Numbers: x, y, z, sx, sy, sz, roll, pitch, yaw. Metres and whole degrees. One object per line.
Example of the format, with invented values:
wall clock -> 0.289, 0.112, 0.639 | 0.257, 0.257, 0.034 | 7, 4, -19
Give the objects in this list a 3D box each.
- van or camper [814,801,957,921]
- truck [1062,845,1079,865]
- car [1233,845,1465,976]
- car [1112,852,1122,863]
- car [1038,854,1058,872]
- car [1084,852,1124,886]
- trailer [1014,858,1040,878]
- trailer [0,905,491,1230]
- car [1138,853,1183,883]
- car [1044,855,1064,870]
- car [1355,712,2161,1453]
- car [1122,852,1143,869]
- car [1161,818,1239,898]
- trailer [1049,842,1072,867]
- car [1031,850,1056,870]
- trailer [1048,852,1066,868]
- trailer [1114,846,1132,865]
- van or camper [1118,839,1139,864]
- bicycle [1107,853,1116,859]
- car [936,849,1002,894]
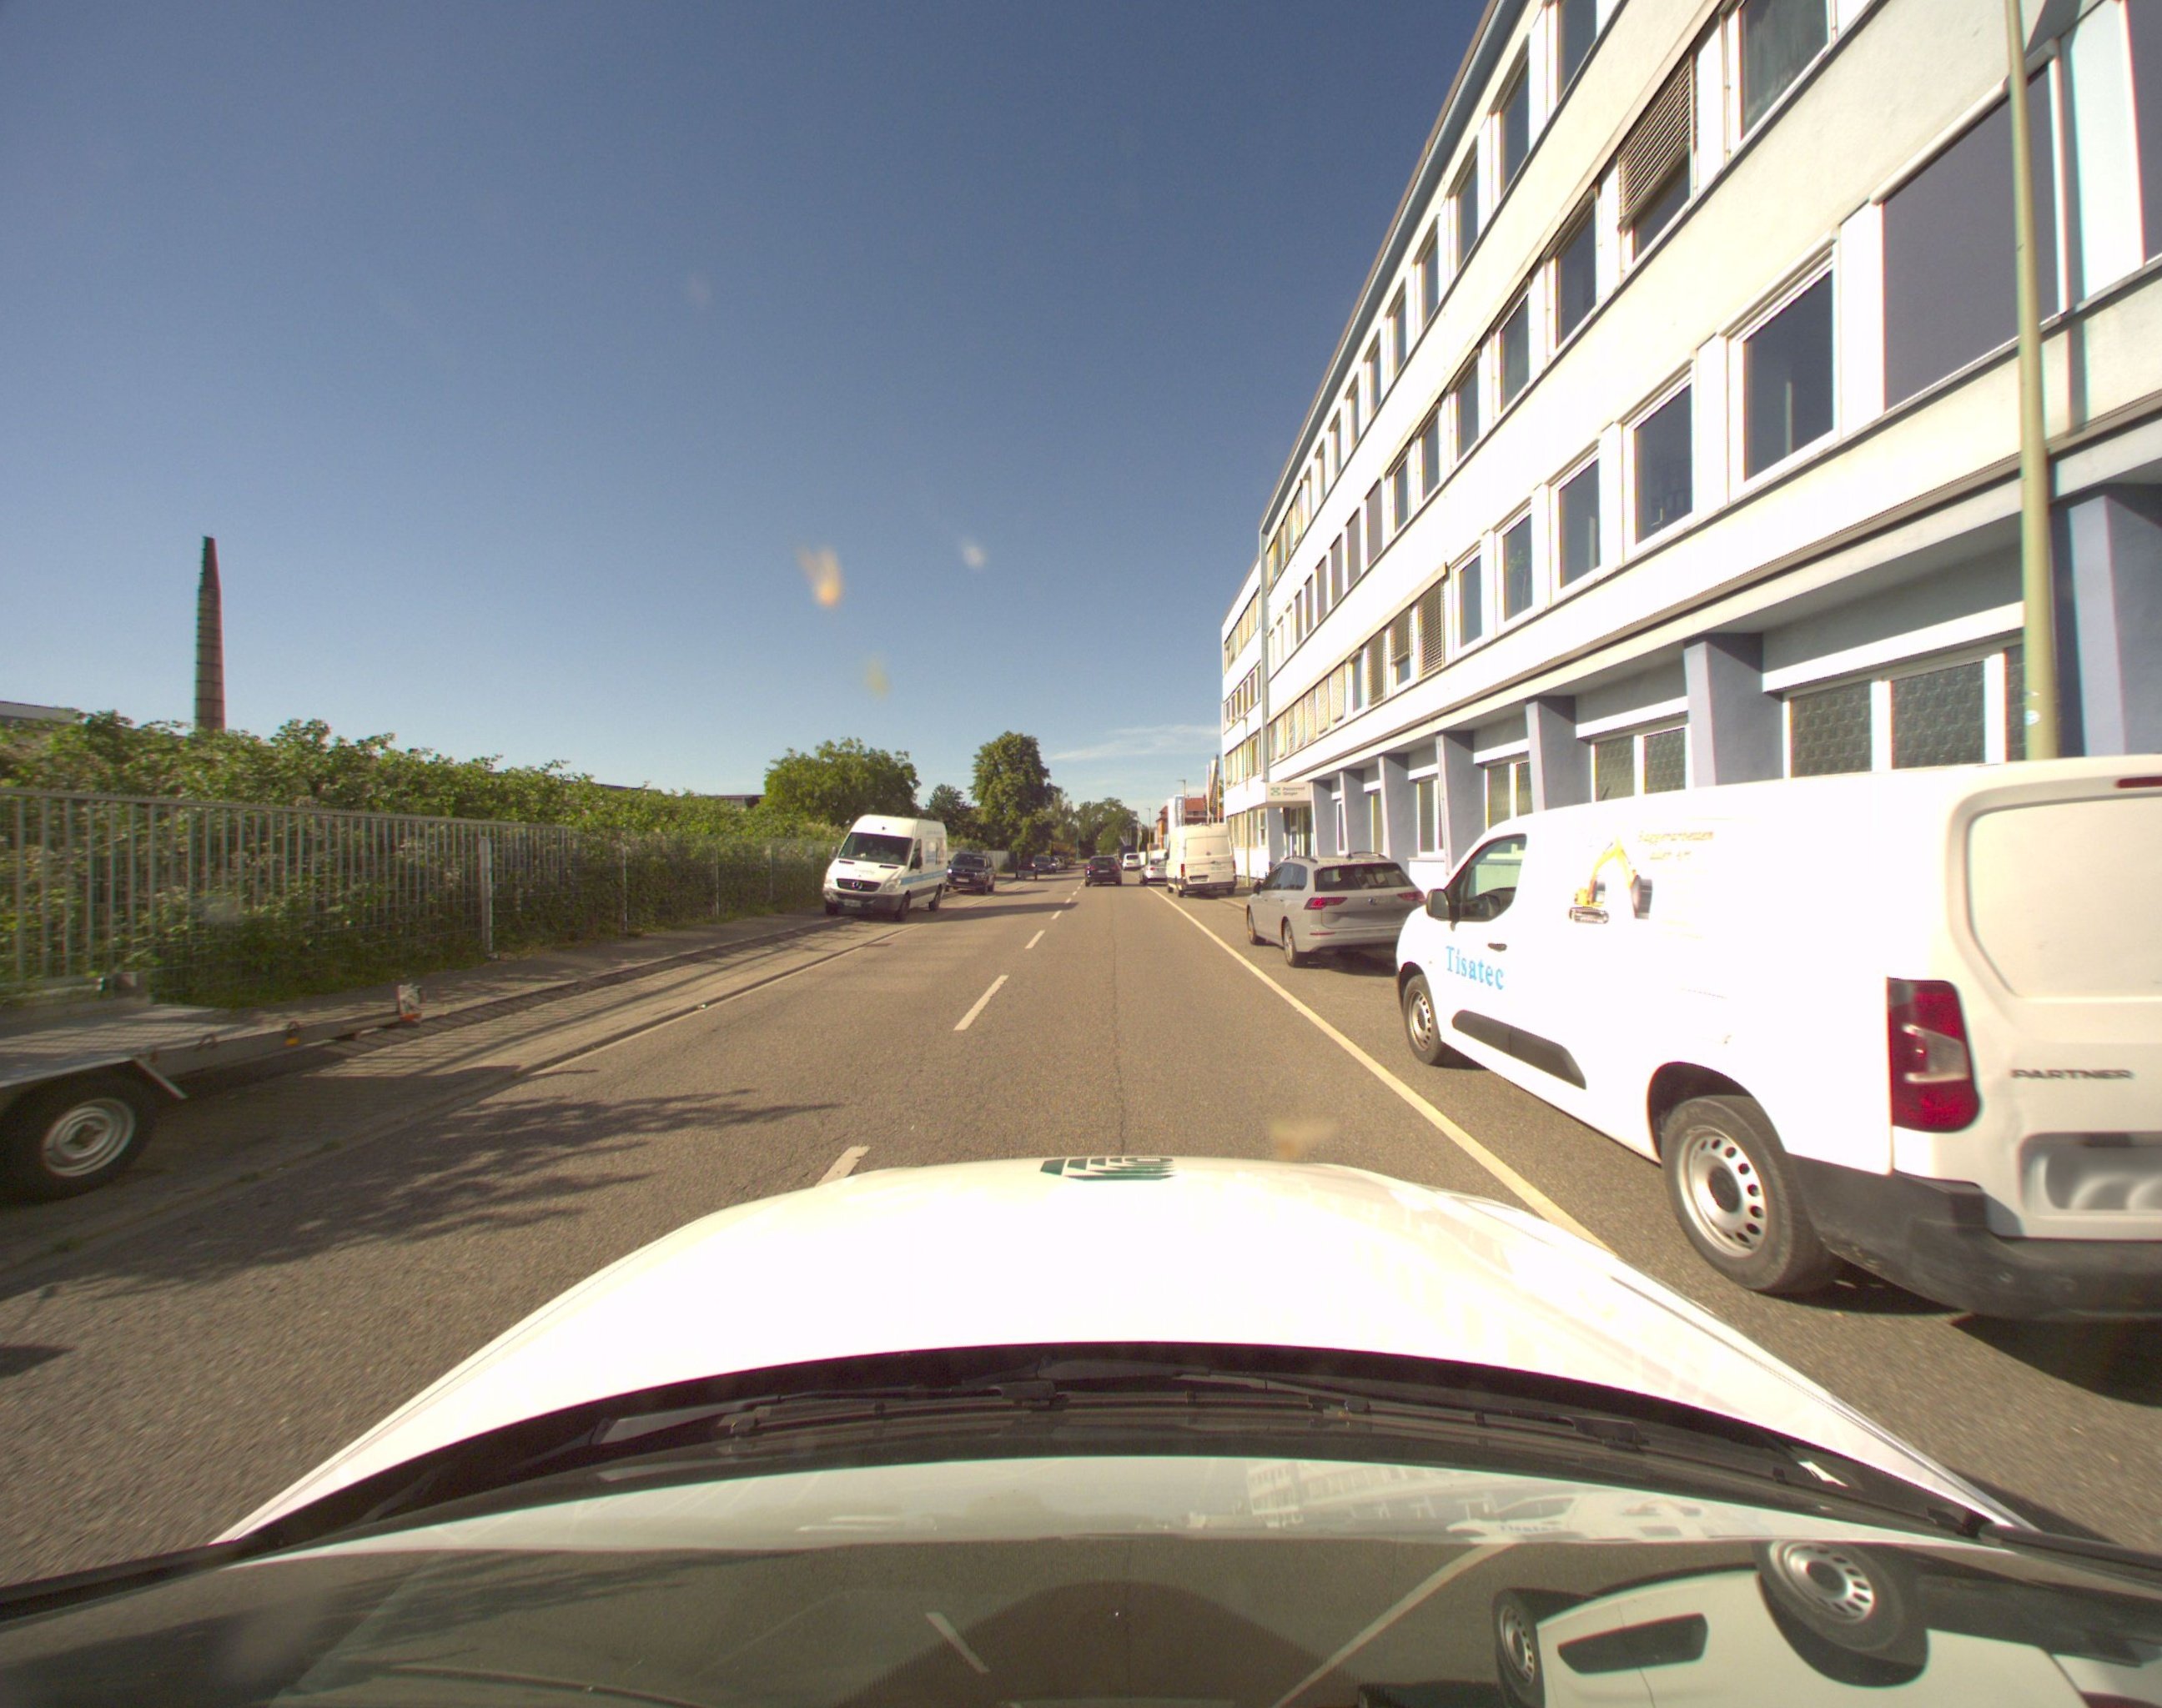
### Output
van or camper -> -5.074, 0.158, 22.241 | 1.958, 2.685, 5.953 | 4, 0, 3
truck -> -2.063, 0.087, 159.066 | 2.622, 3.504, 8.661 | 5, 1, 2
car -> 3.667, 0.673, 12.249 | 1.883, 1.560, 5.091 | 0, 0, 1
car -> 6.772, 0.728, 152.819 | 1.867, 2.014, 5.162 | 1, -1, 2
car -> -3.398, 0.893, 85.244 | 1.902, 1.662, 4.461 | 4, 0, -1
car -> 1.156, 0.691, 39.922 | 1.840, 1.530, 4.002 | -1, 0, 2
trailer -> -3.699, 0.953, 56.363 | 1.471, 1.354, 3.079 | 1, 0, 2
trailer -> -5.894, 1.049, 3.255 | 2.367, 1.080, 6.247 | 3, 1, 1
car -> 4.023, 0.706, 41.951 | 1.887, 1.405, 5.125 | 1, -1, 1
car -> -3.256, 1.013, 98.619 | 1.900, 1.593, 5.027 | 4, 0, 2
car -> 3.208, 0.563, 4.544 | 1.881, 1.832, 5.094 | 0, 0, 3
car -> 5.406, 0.687, 86.298 | 1.879, 1.797, 5.104 | 1, -1, 1
car -> 4.328, 0.090, 30.554 | 1.987, 2.597, 6.051 | -3, 1, 0
trailer -> -2.800, 0.102, 115.460 | 2.981, 3.443, 8.161 | -1, 0, 0
car -> -3.409, 0.541, 74.458 | 1.784, 1.731, 4.806 | -1, 0, 3
trailer -> -3.018, 0.797, 104.546 | 1.986, 1.941, 4.416 | -1, 0, 2
trailer -> 6.297, 0.220, 122.768 | 2.451, 2.673, 5.703 | -1, 0, 1
van or camper -> 5.370, -0.276, 92.753 | 2.133, 2.759, 6.163 | 1, -1, 2
bicycle -> 6.349, 0.418, 169.907 | 0.809, 1.268, 2.235 | 1, -1, -33
car -> -4.721, 0.689, 35.144 | 2.023, 1.694, 5.106 | 3, 0, 0
